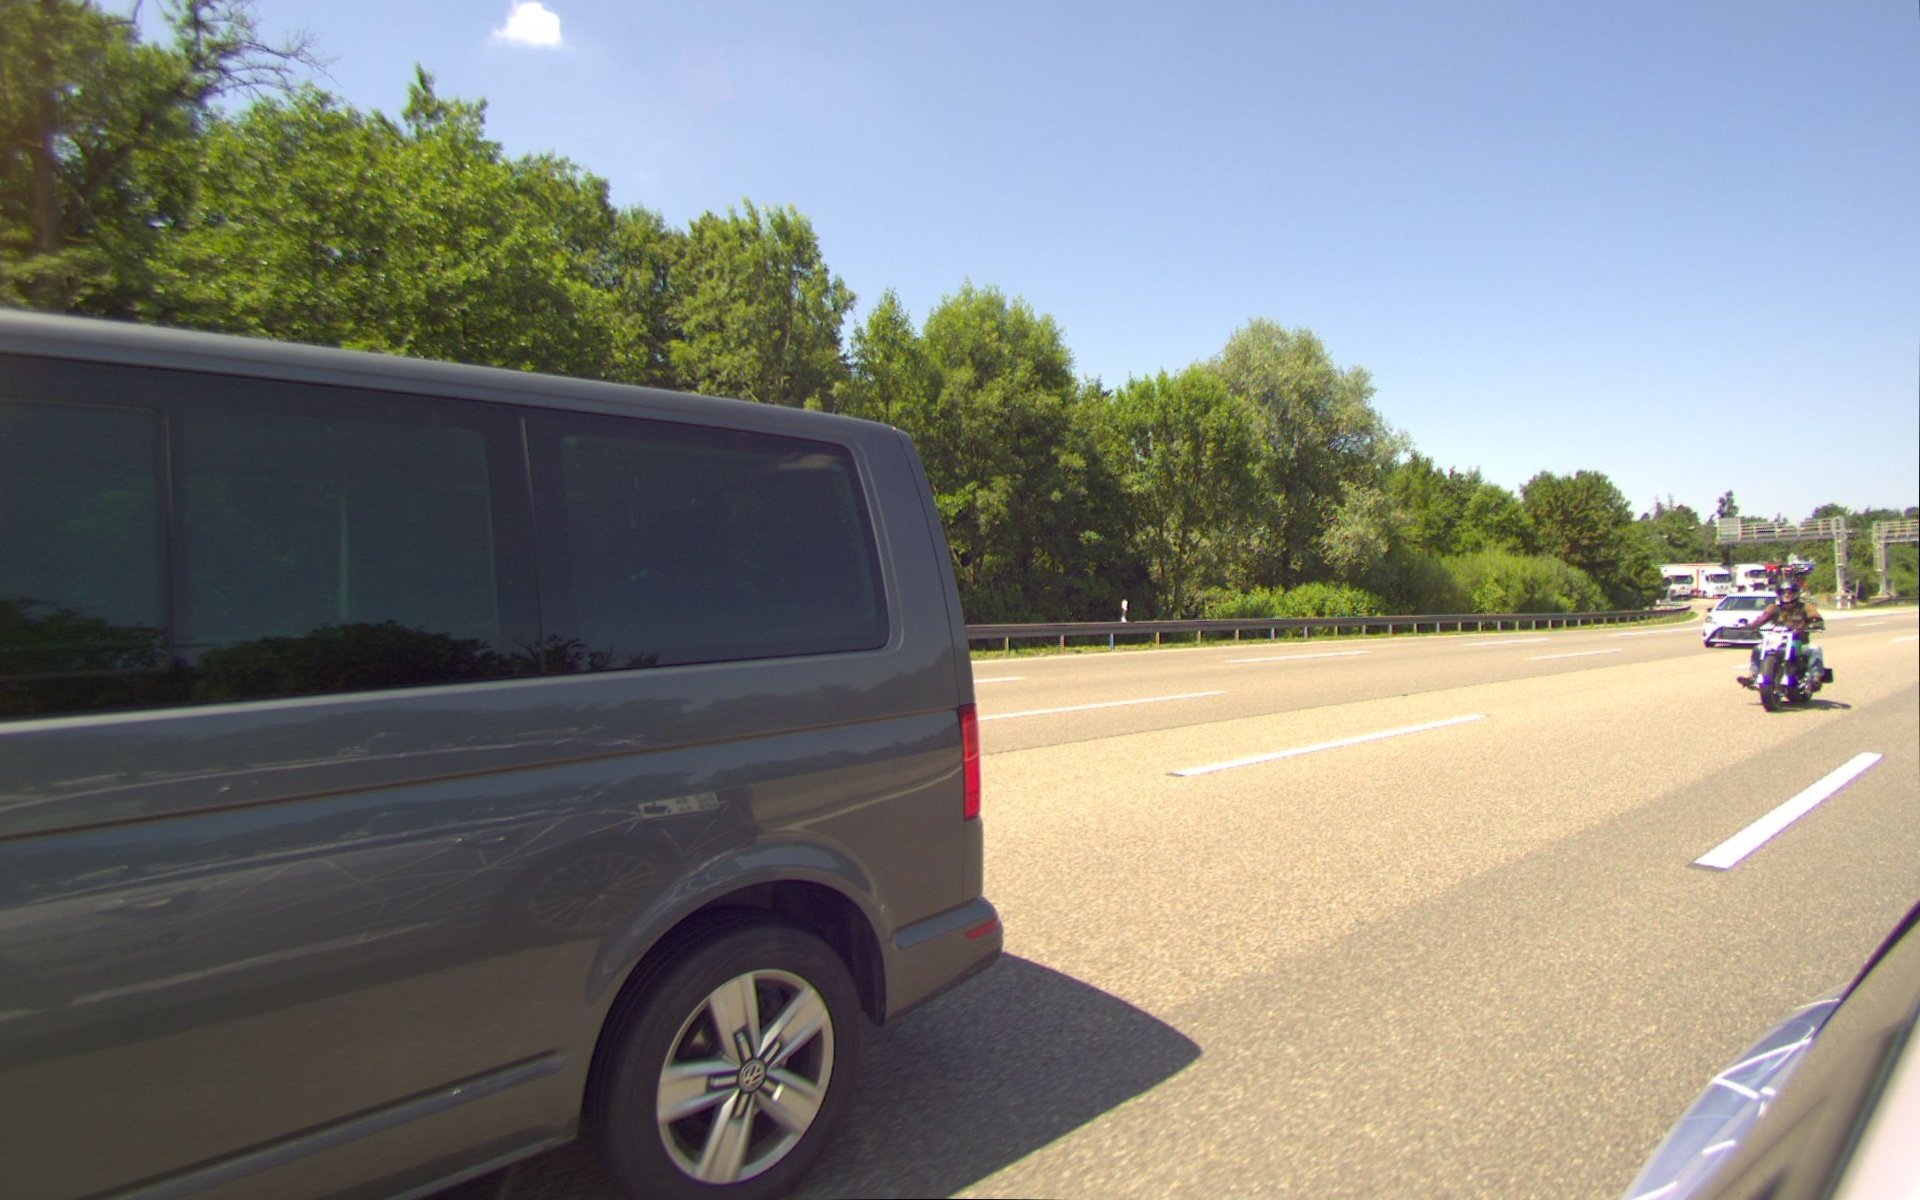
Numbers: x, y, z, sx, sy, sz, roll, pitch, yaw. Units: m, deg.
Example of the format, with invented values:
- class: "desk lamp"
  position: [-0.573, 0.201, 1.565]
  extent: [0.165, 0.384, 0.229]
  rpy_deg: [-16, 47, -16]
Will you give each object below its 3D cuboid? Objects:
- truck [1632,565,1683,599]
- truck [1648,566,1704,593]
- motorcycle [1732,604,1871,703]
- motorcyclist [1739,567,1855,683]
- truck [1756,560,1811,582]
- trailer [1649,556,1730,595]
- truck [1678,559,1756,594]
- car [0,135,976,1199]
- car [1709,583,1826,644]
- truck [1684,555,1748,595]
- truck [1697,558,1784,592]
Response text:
- class: "truck"
  position: [80.254, -2.108, 116.501]
  extent: [2.455, 3.656, 6.304]
  rpy_deg: [-2, 1, 12]
- class: "truck"
  position: [88.280, -2.570, 125.004]
  extent: [2.418, 3.163, 8.992]
  rpy_deg: [-2, 1, 14]
- class: "motorcycle"
  position: [11.064, 0.660, 13.275]
  extent: [2.387, 1.150, 0.538]
  rpy_deg: [-1, 1, -28]
- class: "motorcyclist"
  position: [10.938, 0.293, 13.237]
  extent: [1.002, 1.445, 0.856]
  rpy_deg: [-1, 1, -28]
- class: "truck"
  position: [120.076, -4.186, 147.715]
  extent: [1.967, 2.986, 8.729]
  rpy_deg: [-3, 1, 8]
- class: "trailer"
  position: [96.343, -3.264, 133.950]
  extent: [3.226, 4.766, 12.033]
  rpy_deg: [-3, 1, 8]
- class: "truck"
  position: [104.329, -3.259, 139.773]
  extent: [2.783, 4.515, 12.042]
  rpy_deg: [-3, 1, 7]
- class: "car"
  position: [-2.484, 0.353, 1.831]
  extent: [4.994, 2.059, 1.966]
  rpy_deg: [-1, 0, -40]
- class: "car"
  position: [22.168, 0.313, 27.720]
  extent: [4.406, 1.538, 1.752]
  rpy_deg: [-1, 0, -41]
- class: "truck"
  position: [95.484, -3.159, 127.948]
  extent: [3.212, 4.783, 7.173]
  rpy_deg: [-3, 1, 9]
- class: "truck"
  position: [109.839, -3.407, 142.838]
  extent: [2.784, 4.516, 14.609]
  rpy_deg: [0, 0, 8]
